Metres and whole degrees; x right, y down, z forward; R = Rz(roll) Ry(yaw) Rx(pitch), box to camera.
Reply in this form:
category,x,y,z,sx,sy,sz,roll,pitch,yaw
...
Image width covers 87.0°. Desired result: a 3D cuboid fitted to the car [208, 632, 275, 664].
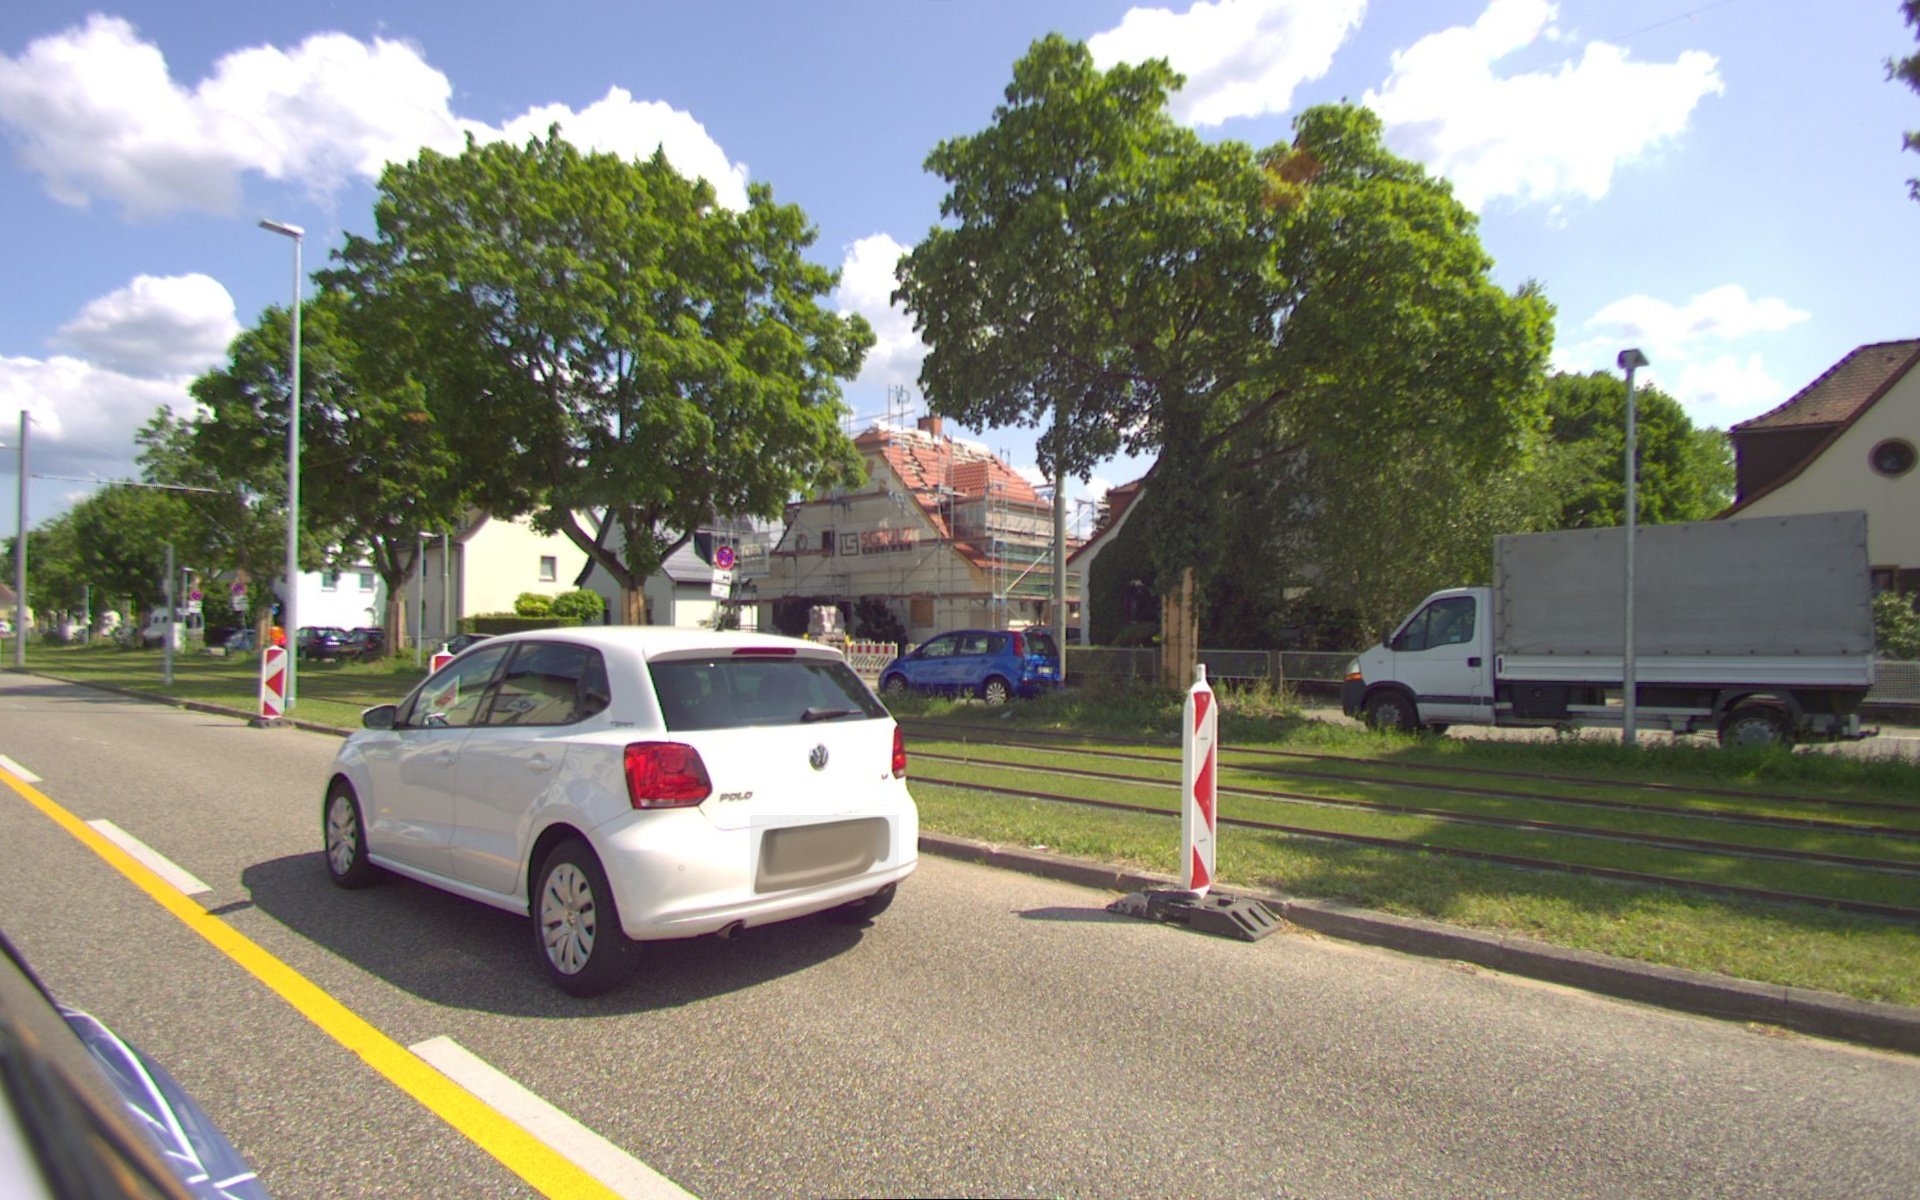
category,x,y,z,sx,sy,sz,roll,pitch,yaw
car,-37.644,2.470,52.982,4.603,1.623,1.733,-2,-3,40

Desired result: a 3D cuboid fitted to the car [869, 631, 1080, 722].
category,x,y,z,sx,sy,sz,roll,pitch,yaw
car,0.221,1.445,20.199,4.047,1.623,1.733,-2,-3,40

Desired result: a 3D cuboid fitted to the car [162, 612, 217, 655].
category,x,y,z,sx,sy,sz,roll,pitch,yaw
car,-48.823,2.108,64.091,4.603,2.636,1.733,-2,-3,40

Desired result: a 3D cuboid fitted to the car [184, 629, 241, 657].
category,x,y,z,sx,sy,sz,roll,pitch,yaw
car,-44.645,2.555,60.407,4.603,1.623,1.733,-2,-3,40

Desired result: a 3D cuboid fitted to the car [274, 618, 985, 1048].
category,x,y,z,sx,sy,sz,roll,pitch,yaw
car,-2.031,0.845,5.438,4.260,1.424,1.697,-2,-3,41

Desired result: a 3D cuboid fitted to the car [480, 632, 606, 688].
category,x,y,z,sx,sy,sz,roll,pitch,yaw
car,-13.171,1.832,31.865,4.603,1.623,1.733,-2,-3,40

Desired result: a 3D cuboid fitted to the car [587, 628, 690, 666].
category,x,y,z,sx,sy,sz,roll,pitch,yaw
car,-14.081,2.049,44.512,1.756,1.623,3.995,-2,-3,41

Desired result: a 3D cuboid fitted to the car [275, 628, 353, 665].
category,x,y,z,sx,sy,sz,roll,pitch,yaw
car,-29.601,2.100,46.334,4.603,1.623,1.733,-2,-3,40

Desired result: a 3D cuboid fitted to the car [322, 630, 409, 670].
category,x,y,z,sx,sy,sz,roll,pitch,yaw
car,-25.182,2.076,42.831,4.603,1.623,1.733,-2,-3,40

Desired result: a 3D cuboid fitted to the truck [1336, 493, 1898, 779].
category,x,y,z,sx,sy,sz,roll,pitch,yaw
truck,8.277,0.467,13.360,5.871,3.010,1.982,-2,-3,41

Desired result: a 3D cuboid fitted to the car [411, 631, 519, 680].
category,x,y,z,sx,sy,sz,roll,pitch,yaw
car,-17.613,1.917,35.935,4.603,1.623,1.733,-2,-3,40

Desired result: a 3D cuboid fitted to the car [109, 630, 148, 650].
category,x,y,z,sx,sy,sz,roll,pitch,yaw
car,-70.203,3.357,85.401,4.603,1.623,1.733,-2,-3,40

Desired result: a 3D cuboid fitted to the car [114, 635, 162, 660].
category,x,y,z,sx,sy,sz,roll,pitch,yaw
car,-57.023,3.270,70.152,4.603,1.623,1.733,-2,-3,40
